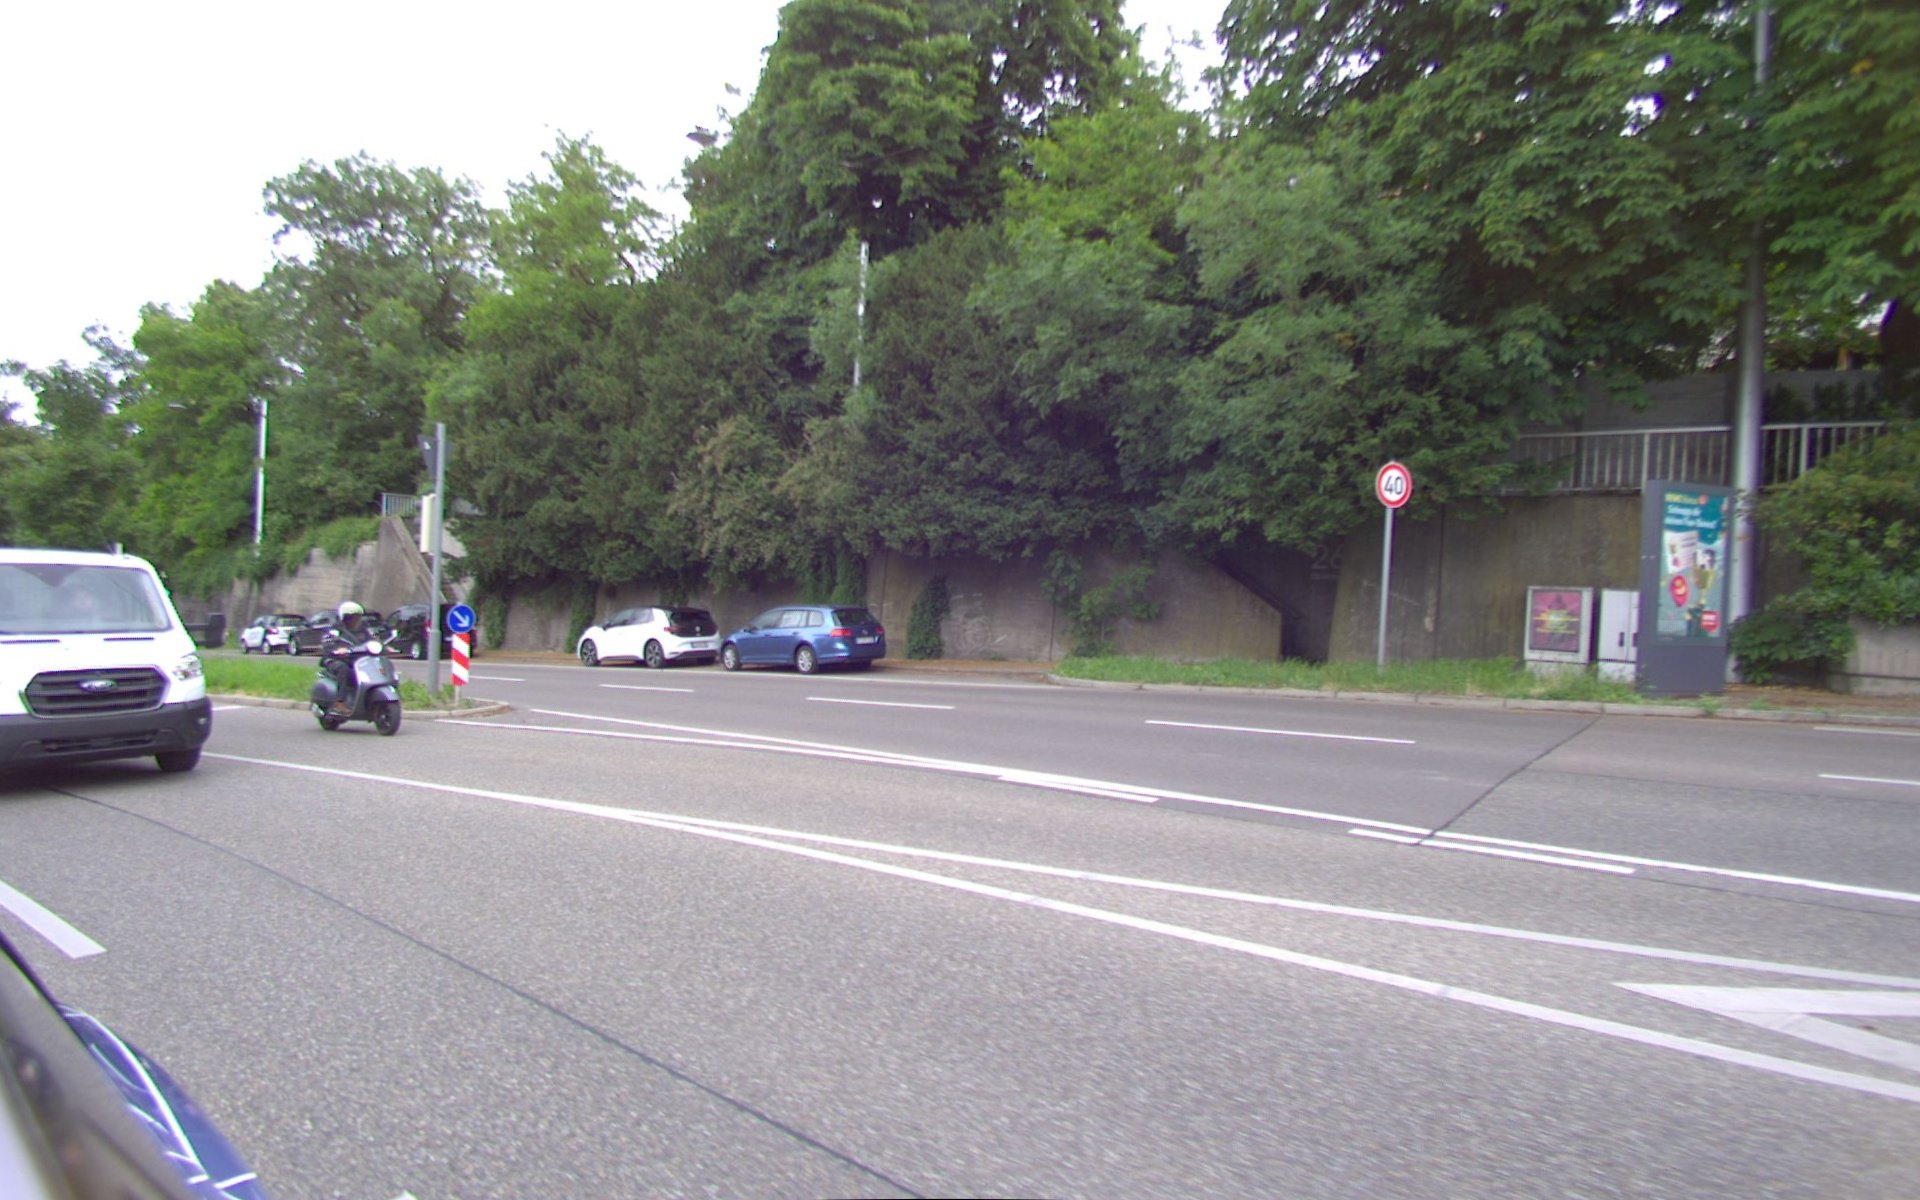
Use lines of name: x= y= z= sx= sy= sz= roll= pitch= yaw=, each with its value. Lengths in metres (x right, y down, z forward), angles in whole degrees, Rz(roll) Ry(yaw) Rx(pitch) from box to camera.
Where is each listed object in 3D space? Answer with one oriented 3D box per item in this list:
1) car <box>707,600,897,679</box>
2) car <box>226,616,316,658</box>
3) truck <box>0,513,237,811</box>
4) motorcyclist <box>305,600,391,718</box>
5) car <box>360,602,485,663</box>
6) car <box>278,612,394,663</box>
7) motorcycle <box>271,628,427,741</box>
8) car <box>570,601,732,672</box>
car: x=-3.532 y=0.841 z=22.245 sx=4.297 sy=1.540 sz=1.695 roll=-2 pitch=0 yaw=40
car: x=-26.935 y=1.454 z=39.559 sx=3.086 sy=1.510 sz=1.767 roll=-2 pitch=0 yaw=31
truck: x=-9.848 y=0.512 z=10.189 sx=6.313 sy=2.338 sz=2.059 roll=-1 pitch=0 yaw=33
motorcyclist: x=-7.698 y=0.728 z=12.733 sx=0.720 sy=1.429 sz=0.677 roll=-2 pitch=-1 yaw=31
car: x=-17.709 y=1.071 z=33.263 sx=4.477 sy=1.857 sz=1.765 roll=-2 pitch=0 yaw=35
car: x=-22.465 y=1.304 z=36.384 sx=4.523 sy=1.669 sz=1.952 roll=-1 pitch=0 yaw=36
motorcycle: x=-7.694 y=1.023 z=12.725 sx=2.038 sy=1.309 sz=0.821 roll=-1 pitch=-1 yaw=31
car: x=-7.943 y=0.920 z=25.913 sx=4.161 sy=1.641 sz=1.764 roll=-2 pitch=0 yaw=35
